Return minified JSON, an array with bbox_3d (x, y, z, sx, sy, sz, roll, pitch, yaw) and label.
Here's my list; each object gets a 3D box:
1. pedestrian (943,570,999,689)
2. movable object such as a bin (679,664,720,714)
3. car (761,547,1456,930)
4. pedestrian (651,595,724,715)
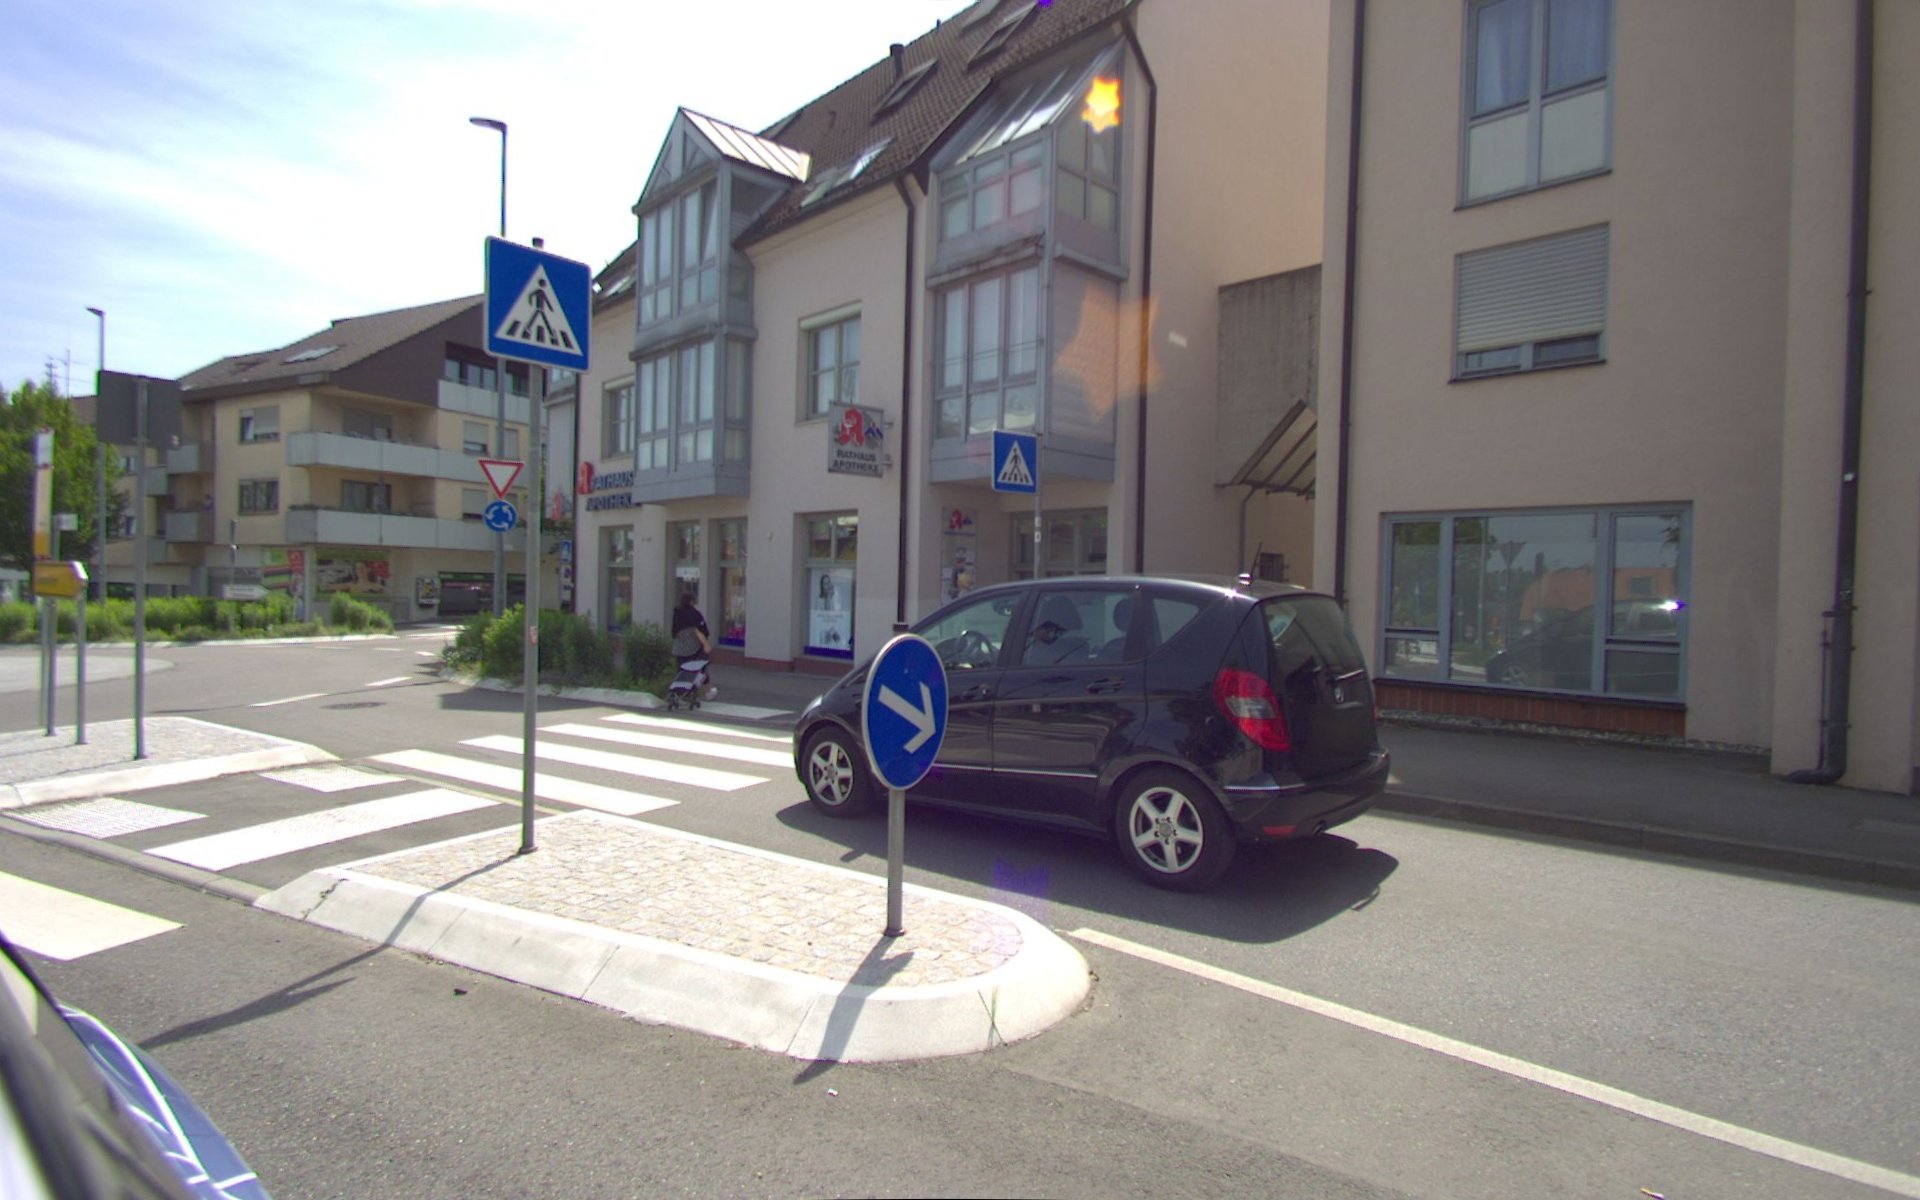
[{"bbox_3d":[0.163,0.421,15.012,0.568,1.722,0.580,-1,1,-39],"label":"pedestrian"},{"bbox_3d":[-3.263,1.113,12.704,0.452,0.586,0.469,0,0,-8],"label":"movable object such as a bin"},{"bbox_3d":[0.668,0.581,6.206,3.945,1.596,1.733,0,0,43],"label":"car"},{"bbox_3d":[-3.495,0.677,13.071,0.790,1.489,0.959,0,0,-7],"label":"pedestrian"}]
